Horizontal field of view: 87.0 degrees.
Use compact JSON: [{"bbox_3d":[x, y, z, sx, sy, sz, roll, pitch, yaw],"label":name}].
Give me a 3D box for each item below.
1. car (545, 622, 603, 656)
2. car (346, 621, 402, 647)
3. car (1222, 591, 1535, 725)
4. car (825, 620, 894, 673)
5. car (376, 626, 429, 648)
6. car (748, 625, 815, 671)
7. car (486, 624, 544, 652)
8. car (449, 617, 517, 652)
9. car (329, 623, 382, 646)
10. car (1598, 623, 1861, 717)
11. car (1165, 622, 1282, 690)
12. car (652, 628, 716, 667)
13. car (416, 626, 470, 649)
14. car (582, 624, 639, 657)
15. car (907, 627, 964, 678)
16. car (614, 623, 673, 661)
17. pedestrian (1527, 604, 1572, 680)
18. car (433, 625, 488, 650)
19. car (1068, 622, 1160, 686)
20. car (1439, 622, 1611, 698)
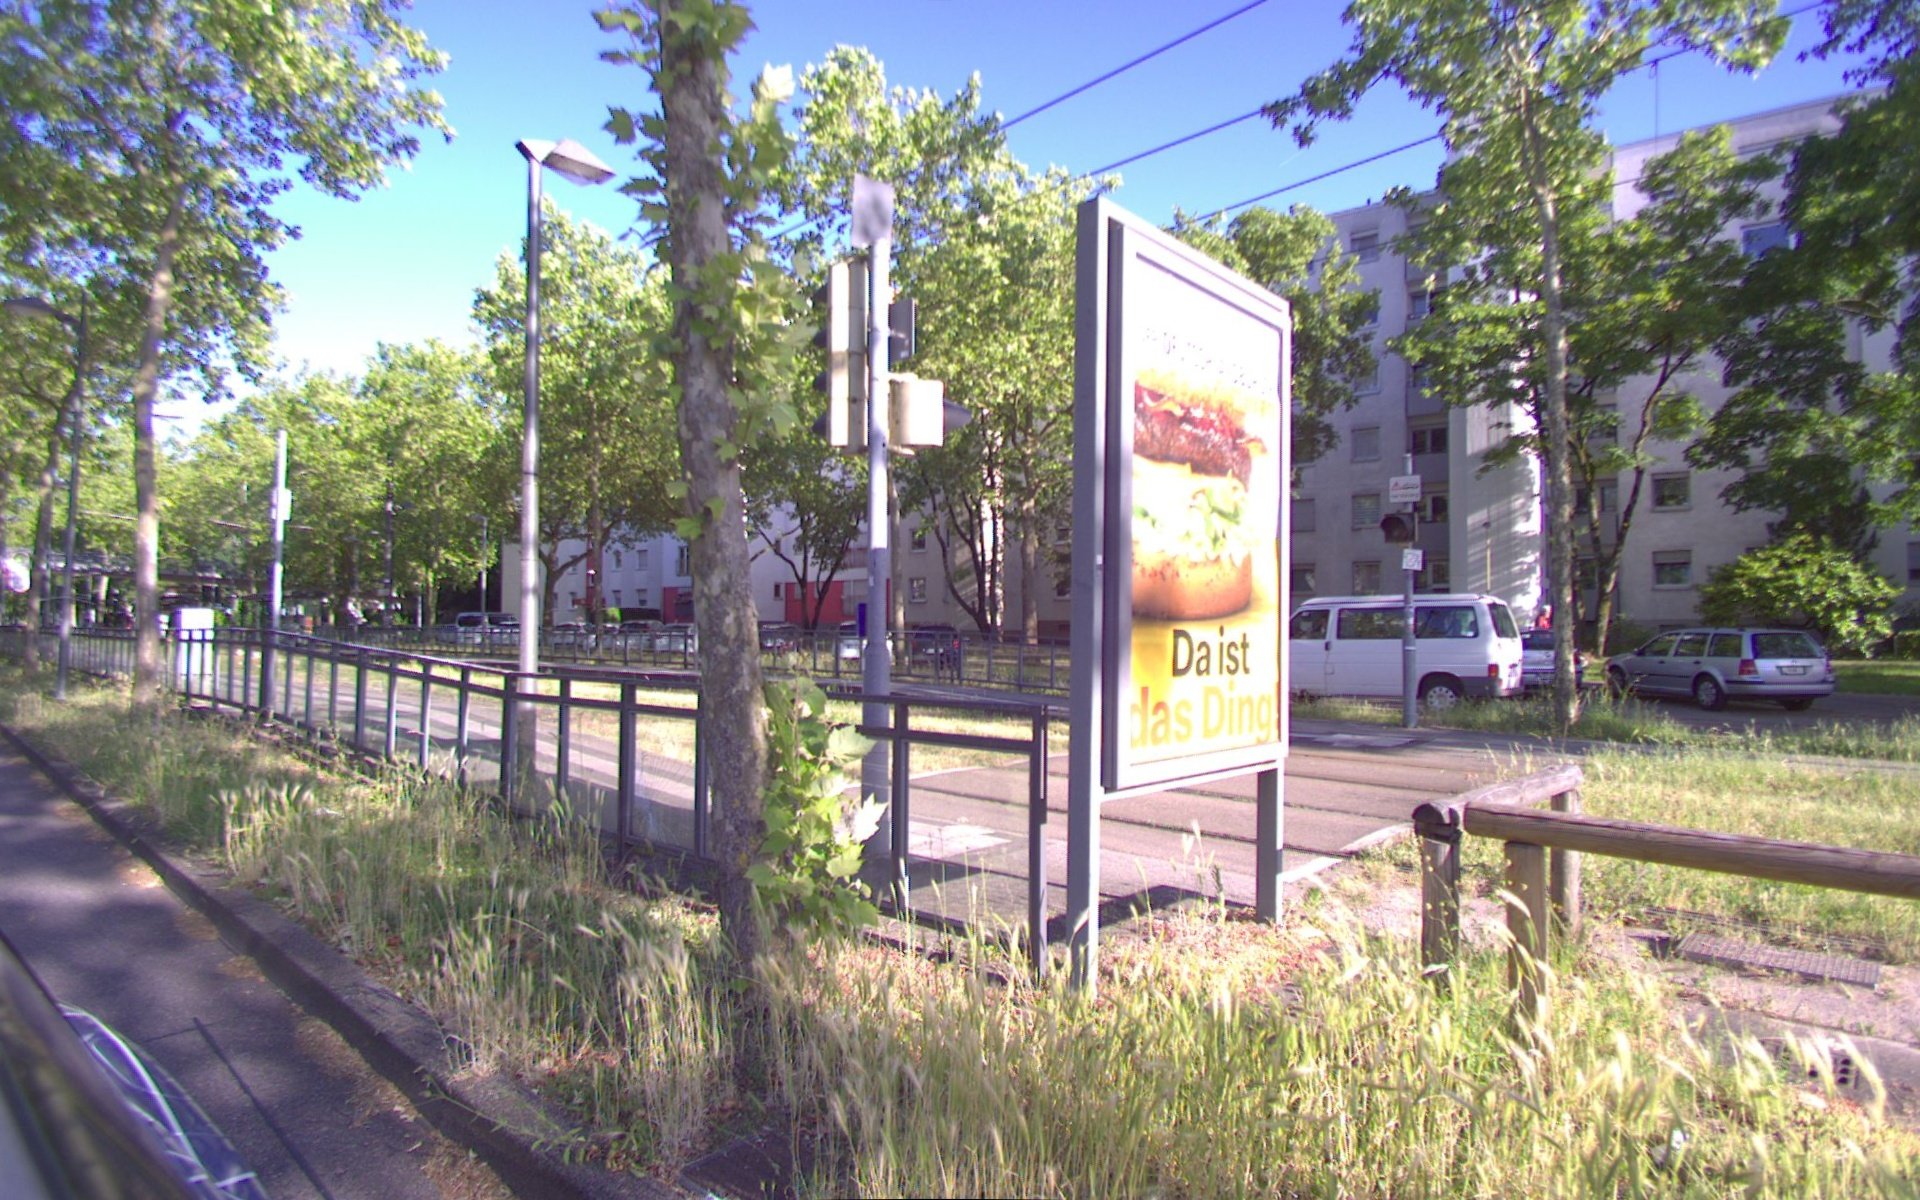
[{"bbox_3d":[-18.651,1.872,49.070,1.539,1.436,3.489,-3,0,-2],"label":"car"},{"bbox_3d":[-38.165,2.194,66.040,1.578,1.582,3.830,0,-1,-3],"label":"car"},{"bbox_3d":[7.048,0.924,17.408,4.651,2.007,1.772,-1,-2,42],"label":"car"},{"bbox_3d":[-3.412,1.565,35.094,1.791,1.607,3.997,-1,0,3],"label":"car"},{"bbox_3d":[-35.243,2.296,64.047,1.459,1.330,3.487,0,-1,-1],"label":"car"},{"bbox_3d":[-6.568,1.736,37.563,1.609,1.499,3.997,-1,0,3],"label":"car"},{"bbox_3d":[-23.405,1.979,53.365,1.605,1.414,3.487,0,-1,-1],"label":"car"},{"bbox_3d":[-25.962,1.840,55.190,1.843,1.826,4.048,0,-1,-1],"label":"car"},{"bbox_3d":[-42.169,2.381,70.684,1.578,1.538,3.737,0,-1,-3],"label":"car"},{"bbox_3d":[13.890,1.189,18.605,1.685,1.454,3.978,-1,0,-1],"label":"car"},{"bbox_3d":[6.571,1.362,25.700,1.650,1.469,4.004,-1,0,-4],"label":"car"},{"bbox_3d":[-11.558,1.976,42.591,1.470,1.425,3.880,-1,0,3],"label":"car"},{"bbox_3d":[-30.672,2.212,60.137,1.459,1.311,3.487,0,-1,-1],"label":"car"},{"bbox_3d":[-16.364,1.865,47.505,1.459,1.339,3.488,-2,0,-1],"label":"car"},{"bbox_3d":[-0.745,1.644,32.666,1.538,1.439,3.761,-1,0,3],"label":"car"},{"bbox_3d":[-14.075,1.846,45.151,1.445,1.519,3.393,-1,0,3],"label":"car"},{"bbox_3d":[13.941,0.982,23.942,0.755,1.770,0.752,-1,-2,42],"label":"pedestrian"},{"bbox_3d":[-28.278,2.096,57.434,1.459,1.354,3.487,0,-1,-1],"label":"car"},{"bbox_3d":[4.130,1.412,27.773,1.669,1.499,4.003,-1,0,-3],"label":"car"},{"bbox_3d":[11.888,1.208,21.575,1.553,1.431,3.620,-1,-1,-1],"label":"car"}]
